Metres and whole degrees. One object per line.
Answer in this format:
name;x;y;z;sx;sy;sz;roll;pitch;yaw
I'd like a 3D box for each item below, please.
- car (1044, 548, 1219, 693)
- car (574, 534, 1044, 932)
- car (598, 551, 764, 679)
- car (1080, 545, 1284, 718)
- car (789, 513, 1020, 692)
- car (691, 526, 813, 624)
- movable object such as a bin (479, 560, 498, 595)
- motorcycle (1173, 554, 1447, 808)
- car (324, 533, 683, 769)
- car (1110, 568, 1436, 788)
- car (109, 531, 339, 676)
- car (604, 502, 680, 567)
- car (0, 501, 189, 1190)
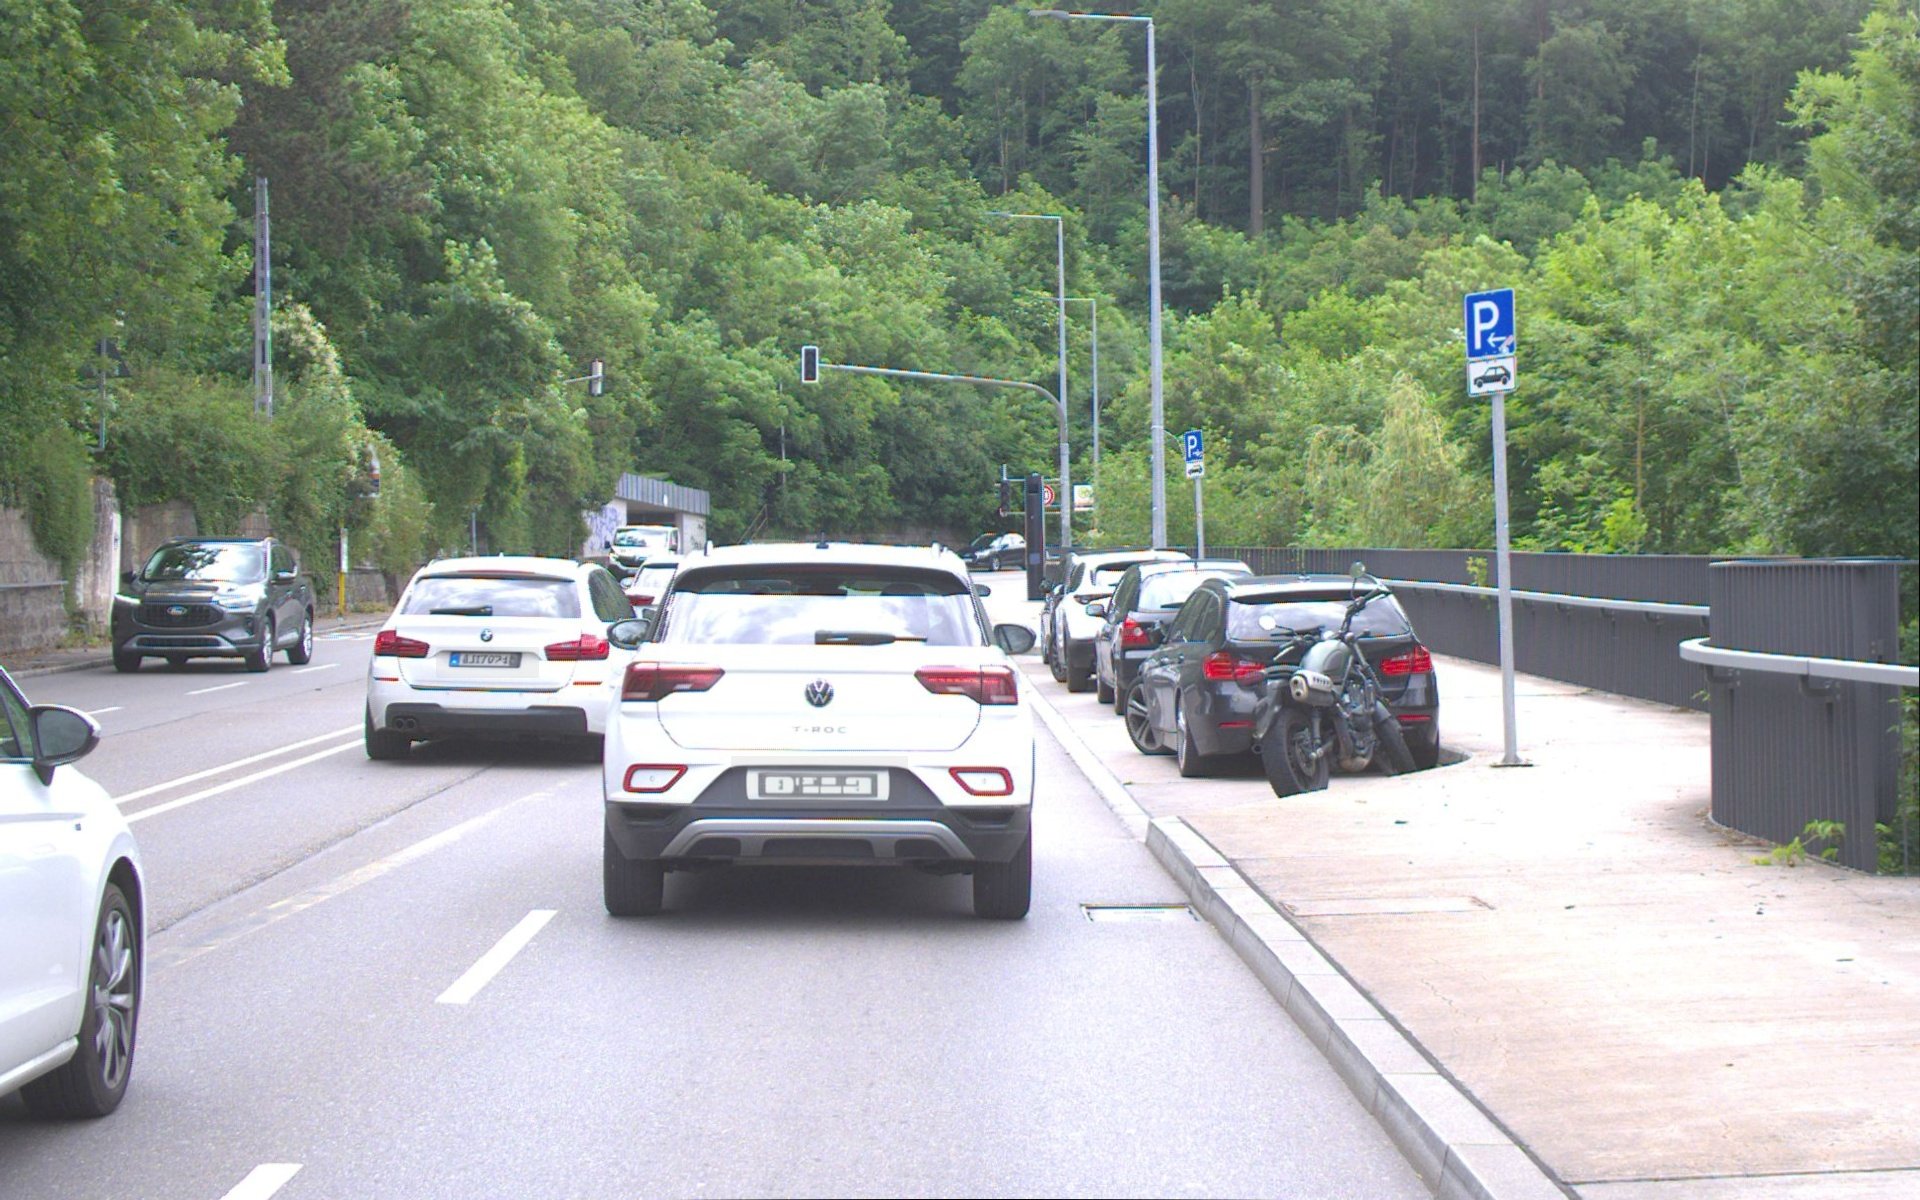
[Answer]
car;1.943;0.205;40.114;1.726;1.563;4.624;-1;0;-1
car;-0.598;0.511;15.357;1.813;1.534;4.008;0;0;0
car;-3.729;0.178;46.557;1.862;1.589;4.000;2;1;0
car;2.178;0.263;34.703;1.659;1.566;4.255;-3;1;-1
car;-0.561;0.014;38.779;1.994;1.837;4.149;2;0;7
car;-3.808;-0.479;63.570;1.993;1.735;4.000;1;1;0
movable object such as a bin;-13.015;-0.625;94.891;0.427;0.947;0.479;2;0;-2
motorcycle;2.199;0.463;21.249;0.771;1.462;2.501;1;1;28
car;-3.287;0.307;25.684;1.993;1.552;4.681;1;1;0
car;2.200;0.502;25.282;1.823;1.396;4.320;-2;1;-2
car;-9.129;0.019;43.001;1.815;1.691;4.469;1;1;1
car;-10.000;-2.061;108.395;1.921;1.998;5.356;0;1;0
car;-3.005;0.542;7.602;1.720;1.549;4.276;1;1;-1
